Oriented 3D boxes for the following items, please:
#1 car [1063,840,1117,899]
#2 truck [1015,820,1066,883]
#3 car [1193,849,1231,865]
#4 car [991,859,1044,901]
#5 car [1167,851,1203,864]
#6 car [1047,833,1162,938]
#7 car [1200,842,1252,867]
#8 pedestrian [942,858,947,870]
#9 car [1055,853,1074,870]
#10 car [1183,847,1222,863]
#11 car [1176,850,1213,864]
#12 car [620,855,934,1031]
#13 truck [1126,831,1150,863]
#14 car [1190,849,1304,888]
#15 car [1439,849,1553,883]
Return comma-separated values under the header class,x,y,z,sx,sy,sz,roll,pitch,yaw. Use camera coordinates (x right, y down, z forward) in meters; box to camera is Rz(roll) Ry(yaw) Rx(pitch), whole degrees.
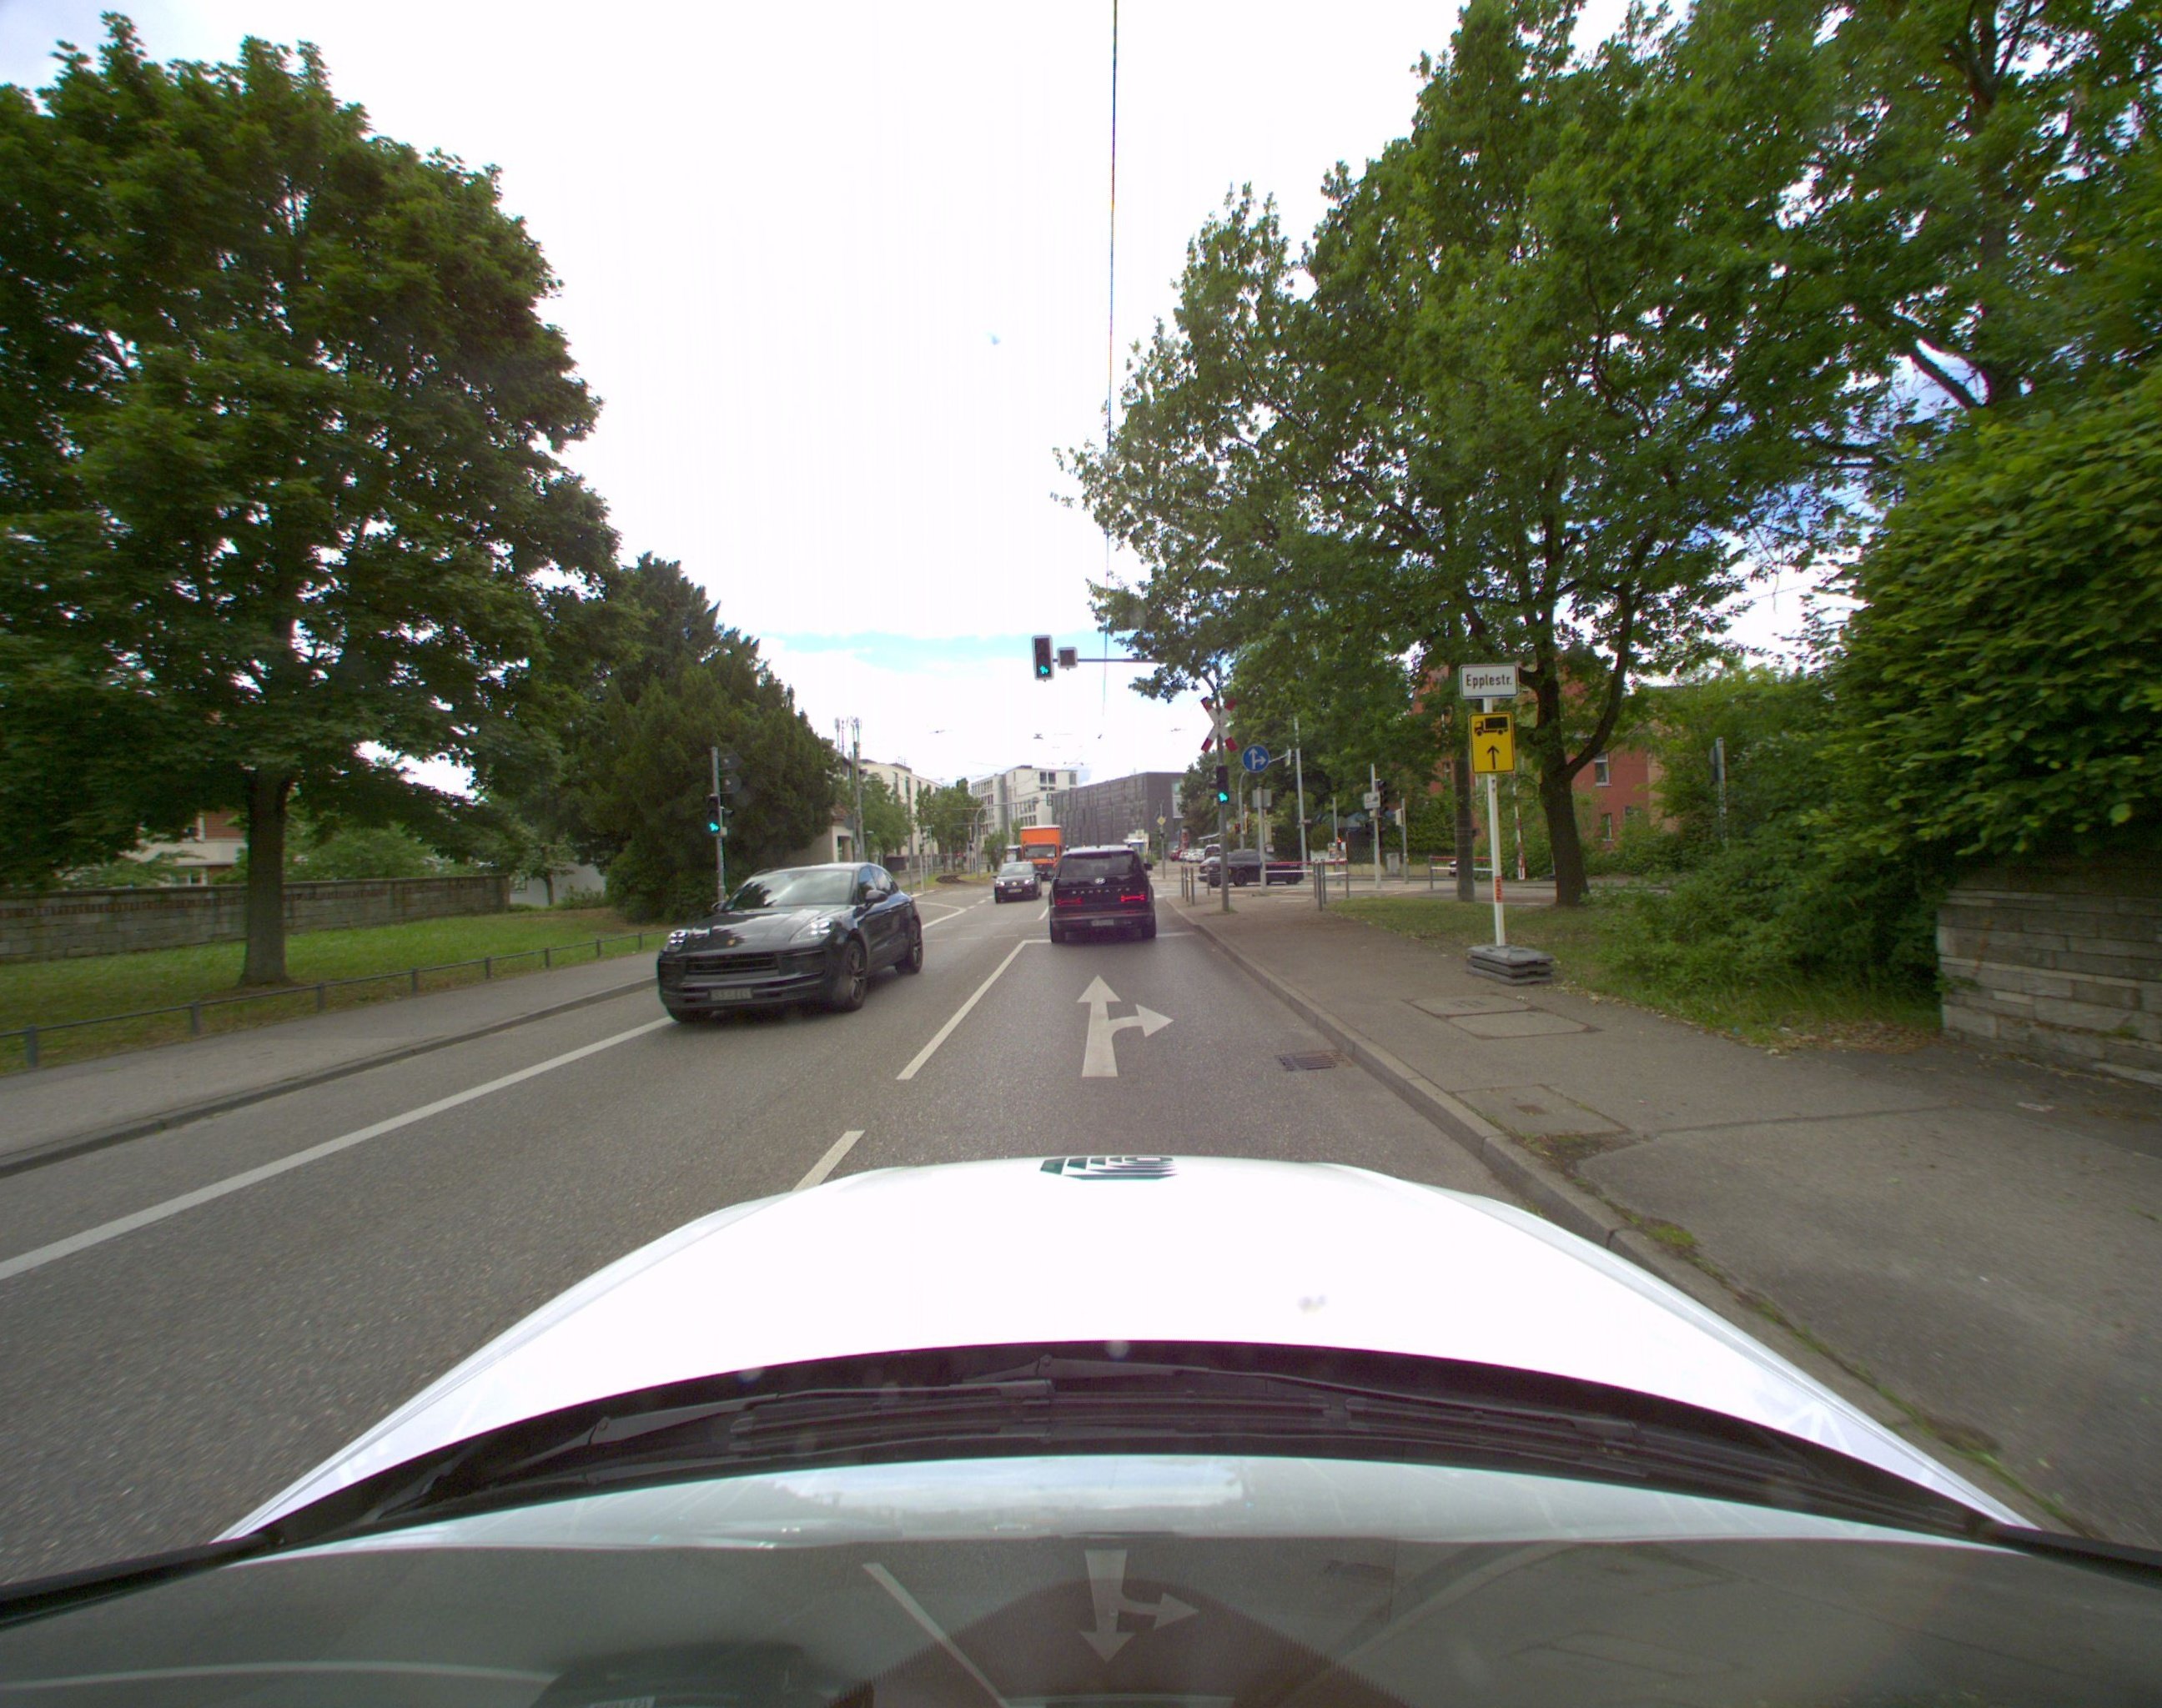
class,x,y,z,sx,sy,sz,roll,pitch,yaw
car,0.291,0.532,31.343,1.850,2.033,4.435,-2,0,-1
truck,-2.607,-0.137,55.232,2.760,3.718,8.467,-5,0,0
car,12.864,0.269,79.853,3.527,1.378,1.533,-3,2,-30
car,-2.420,0.970,31.888,1.658,1.449,3.827,-2,0,1
car,12.275,0.411,96.200,3.808,1.474,1.784,0,-1,-24
car,0.366,0.522,15.662,1.909,1.725,4.168,0,0,-1
car,11.213,0.012,62.653,1.827,1.748,4.725,-2,0,39
pedestrian,-20.098,1.466,119.880,0.611,1.694,0.785,-1,-1,1
car,-1.792,0.803,89.631,1.781,1.661,4.278,-3,0,1
car,12.638,0.087,84.704,3.658,1.435,1.578,-4,-1,-26
car,12.654,0.350,90.793,3.814,1.474,1.781,0,-1,-29
car,-3.289,0.848,9.967,1.932,1.531,4.527,-4,0,1
truck,6.707,-0.842,97.013,2.562,3.525,7.816,-2,0,3
car,6.991,0.587,34.189,4.532,1.463,1.981,-1,-1,-30
car,19.643,0.550,38.655,4.503,1.463,1.994,-1,0,-9
